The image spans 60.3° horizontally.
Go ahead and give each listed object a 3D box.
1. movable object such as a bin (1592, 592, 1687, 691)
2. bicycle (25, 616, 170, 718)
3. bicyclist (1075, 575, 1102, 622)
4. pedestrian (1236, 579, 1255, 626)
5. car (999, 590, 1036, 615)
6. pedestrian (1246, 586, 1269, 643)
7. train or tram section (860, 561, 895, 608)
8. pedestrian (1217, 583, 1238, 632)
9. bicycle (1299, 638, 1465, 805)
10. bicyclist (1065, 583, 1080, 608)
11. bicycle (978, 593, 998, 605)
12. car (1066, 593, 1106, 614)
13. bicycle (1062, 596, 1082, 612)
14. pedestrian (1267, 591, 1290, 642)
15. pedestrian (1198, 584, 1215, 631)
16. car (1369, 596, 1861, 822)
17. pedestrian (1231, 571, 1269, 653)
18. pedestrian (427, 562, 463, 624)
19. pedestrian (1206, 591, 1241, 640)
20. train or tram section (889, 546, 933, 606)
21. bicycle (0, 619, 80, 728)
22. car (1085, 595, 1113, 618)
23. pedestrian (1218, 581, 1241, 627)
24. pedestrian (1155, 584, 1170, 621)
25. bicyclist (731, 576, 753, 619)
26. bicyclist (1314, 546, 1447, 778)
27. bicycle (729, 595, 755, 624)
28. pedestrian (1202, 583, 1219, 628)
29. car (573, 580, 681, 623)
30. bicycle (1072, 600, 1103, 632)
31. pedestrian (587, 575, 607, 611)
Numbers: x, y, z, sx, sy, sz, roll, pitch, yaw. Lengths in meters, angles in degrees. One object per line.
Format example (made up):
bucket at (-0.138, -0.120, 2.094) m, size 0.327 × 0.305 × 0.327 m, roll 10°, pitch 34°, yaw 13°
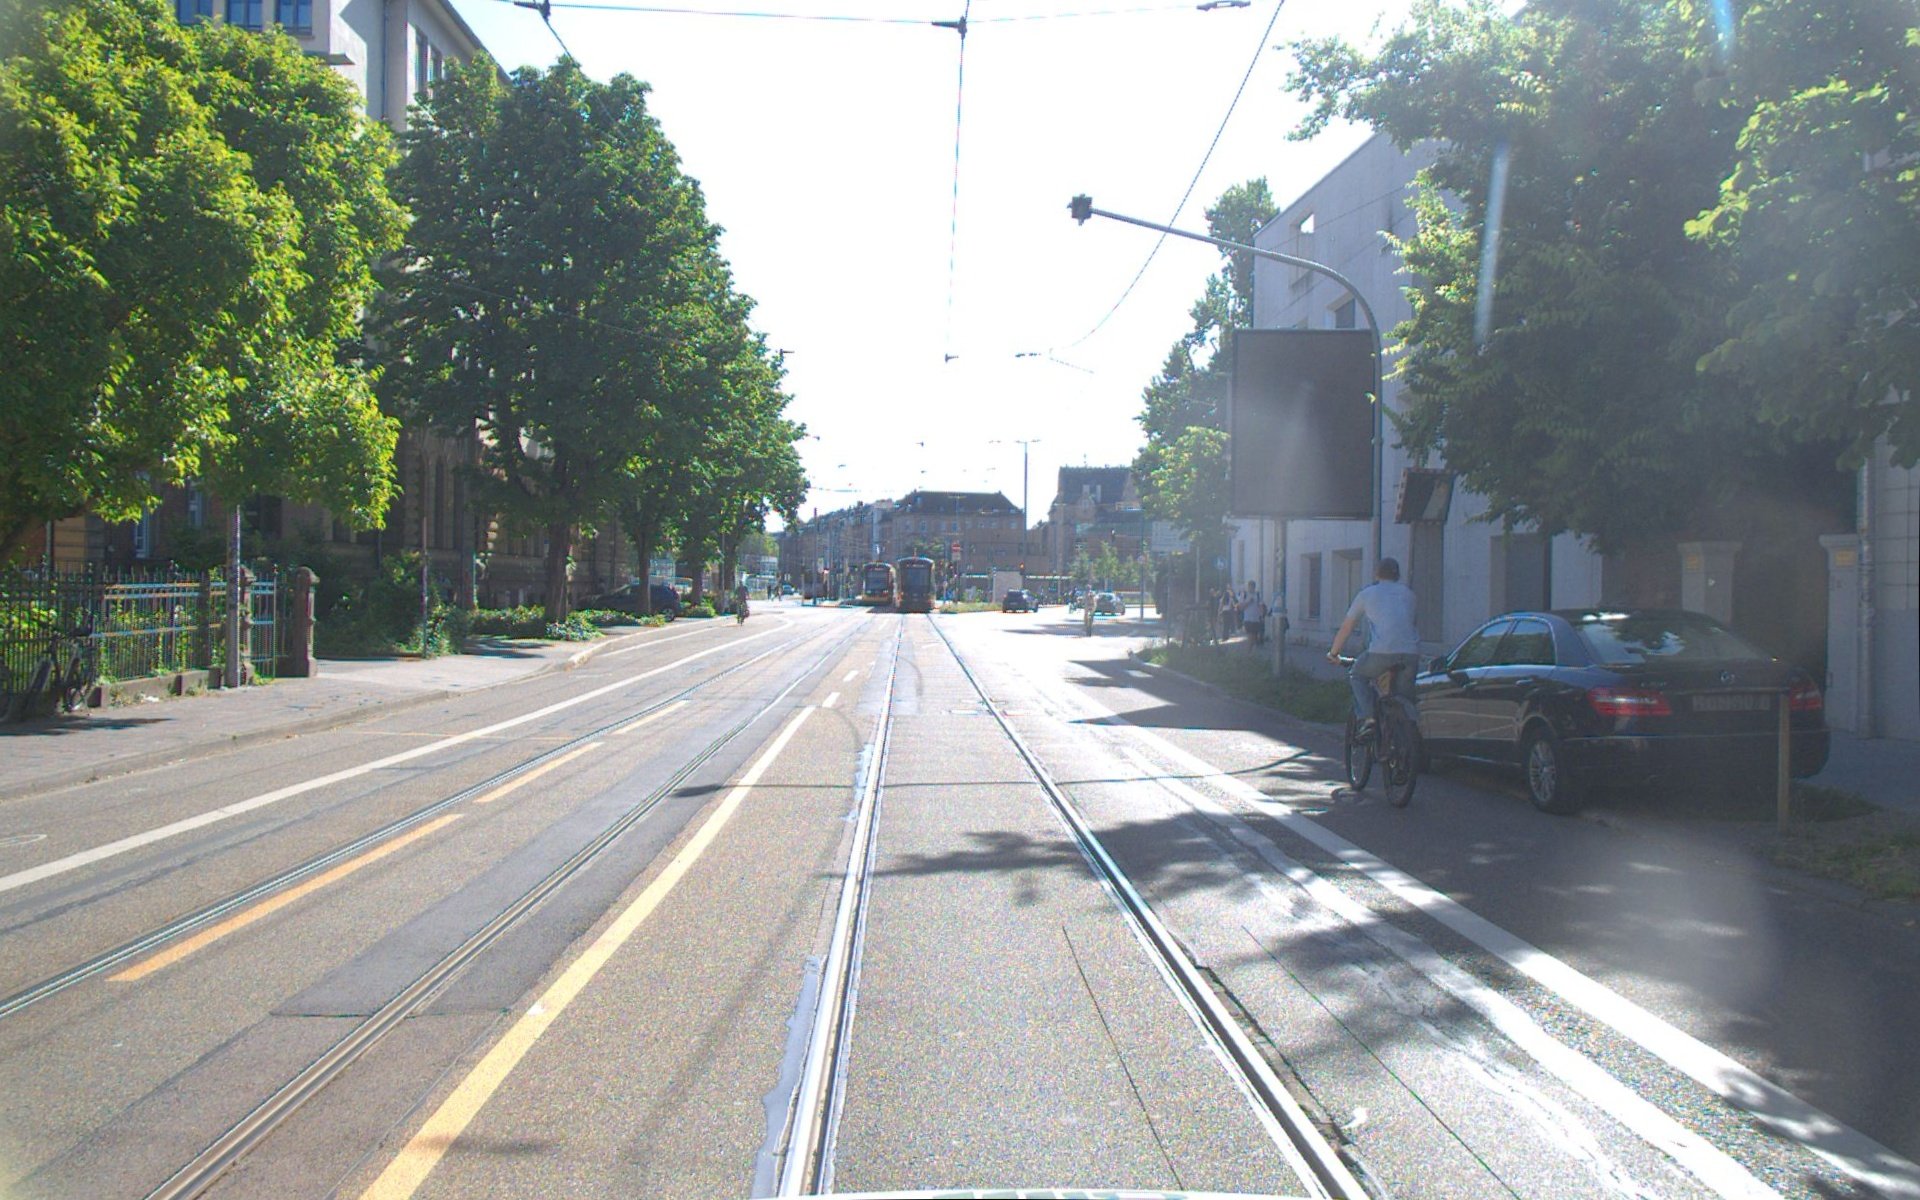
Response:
movable object such as a bin at (10.667, 0.637, 26.016) m, size 0.914 × 1.489 × 1.355 m, roll 1°, pitch 0°, yaw 0°
bicycle at (-9.915, 0.745, 19.086) m, size 0.577 × 1.063 × 1.905 m, roll 3°, pitch 0°, yaw 2°
bicyclist at (4.733, -0.060, 60.884) m, size 0.690 × 1.704 × 1.102 m, roll 3°, pitch 1°, yaw 18°
pedestrian at (11.273, 0.102, 65.357) m, size 0.597 × 1.805 × 0.653 m, roll -3°, pitch 0°, yaw 14°
car at (3.977, 0.147, 113.875) m, size 1.751 × 1.632 × 3.715 m, roll 3°, pitch 1°, yaw 14°
pedestrian at (8.543, 0.409, 47.543) m, size 0.507 × 1.628 × 0.764 m, roll 1°, pitch 0°, yaw 1°
train or tram section at (-6.961, -1.317, 140.250) m, size 2.687 × 3.715 × 13.779 m, roll 1°, pitch 1°, yaw -3°
pedestrian at (10.166, 0.268, 62.732) m, size 0.633 × 1.793 × 0.957 m, roll -3°, pitch 0°, yaw 13°
bicycle at (3.257, 0.900, 12.970) m, size 0.723 × 1.113 × 2.111 m, roll 3°, pitch 0°, yaw 0°
bicyclist at (7.934, -0.299, 116.841) m, size 0.691 × 1.730 × 0.987 m, roll 4°, pitch 1°, yaw 23°
bicycle at (2.654, -0.108, 156.497) m, size 1.896 × 1.122 × 0.598 m, roll 1°, pitch 0°, yaw -4°
car at (10.400, 0.293, 136.695) m, size 1.671 × 1.672 × 3.702 m, roll 3°, pitch 1°, yaw 33°
bicycle at (7.911, 0.277, 116.867) m, size 0.691 × 1.073 × 2.313 m, roll 4°, pitch 1°, yaw 22°
pedestrian at (9.134, 0.468, 47.421) m, size 0.507 × 1.429 × 0.764 m, roll 1°, pitch 0°, yaw 1°
pedestrian at (9.383, 0.280, 62.904) m, size 0.484 × 1.758 × 0.817 m, roll -3°, pitch 0°, yaw 14°
car at (5.034, 0.725, 13.584) m, size 1.786 × 1.484 × 4.813 m, roll 0°, pitch 0°, yaw -5°
pedestrian at (6.726, 0.276, 38.376) m, size 0.670 × 1.882 × 0.955 m, roll 0°, pitch 0°, yaw -3°
pedestrian at (-15.594, -0.202, 50.073) m, size 0.714 × 1.828 × 0.780 m, roll 4°, pitch 0°, yaw 1°
pedestrian at (9.083, 0.541, 57.010) m, size 0.842 × 1.669 × 0.990 m, roll 0°, pitch -2°, yaw 34°
train or tram section at (-3.352, -1.579, 110.989) m, size 2.687 × 3.715 × 13.779 m, roll 1°, pitch 1°, yaw -3°
bicycle at (-9.945, 0.750, 16.998) m, size 0.577 × 1.064 × 1.906 m, roll 2°, pitch 0°, yaw 6°
car at (9.725, 0.438, 115.275) m, size 1.751 × 1.537 × 3.715 m, roll 3°, pitch 1°, yaw 7°
pedestrian at (10.753, 0.149, 65.916) m, size 0.520 × 1.805 × 0.732 m, roll -3°, pitch 0°, yaw 39°
pedestrian at (10.708, 0.132, 87.568) m, size 0.624 × 1.937 × 1.134 m, roll -1°, pitch 0°, yaw -1°
bicyclist at (-8.550, -0.111, 64.896) m, size 0.672 × 1.673 × 1.238 m, roll -1°, pitch 0°, yaw 2°
bicyclist at (3.275, 0.463, 12.959) m, size 0.723 × 1.715 × 0.972 m, roll 3°, pitch 0°, yaw 0°
bicycle at (-8.544, 0.366, 64.914) m, size 0.672 × 1.144 × 1.932 m, roll -1°, pitch 0°, yaw 2°
pedestrian at (10.010, 0.205, 66.177) m, size 0.593 × 1.777 × 0.718 m, roll -2°, pitch 0°, yaw 6°
car at (-13.670, 0.057, 67.968) m, size 3.943 × 1.577 × 1.859 m, roll 2°, pitch 0°, yaw -30°
bicycle at (4.704, 0.572, 60.890) m, size 0.690 × 1.124 × 1.718 m, roll 3°, pitch 1°, yaw 18°
pedestrian at (-17.317, -0.333, 78.887) m, size 0.686 × 1.663 × 0.759 m, roll 3°, pitch 0°, yaw -2°
